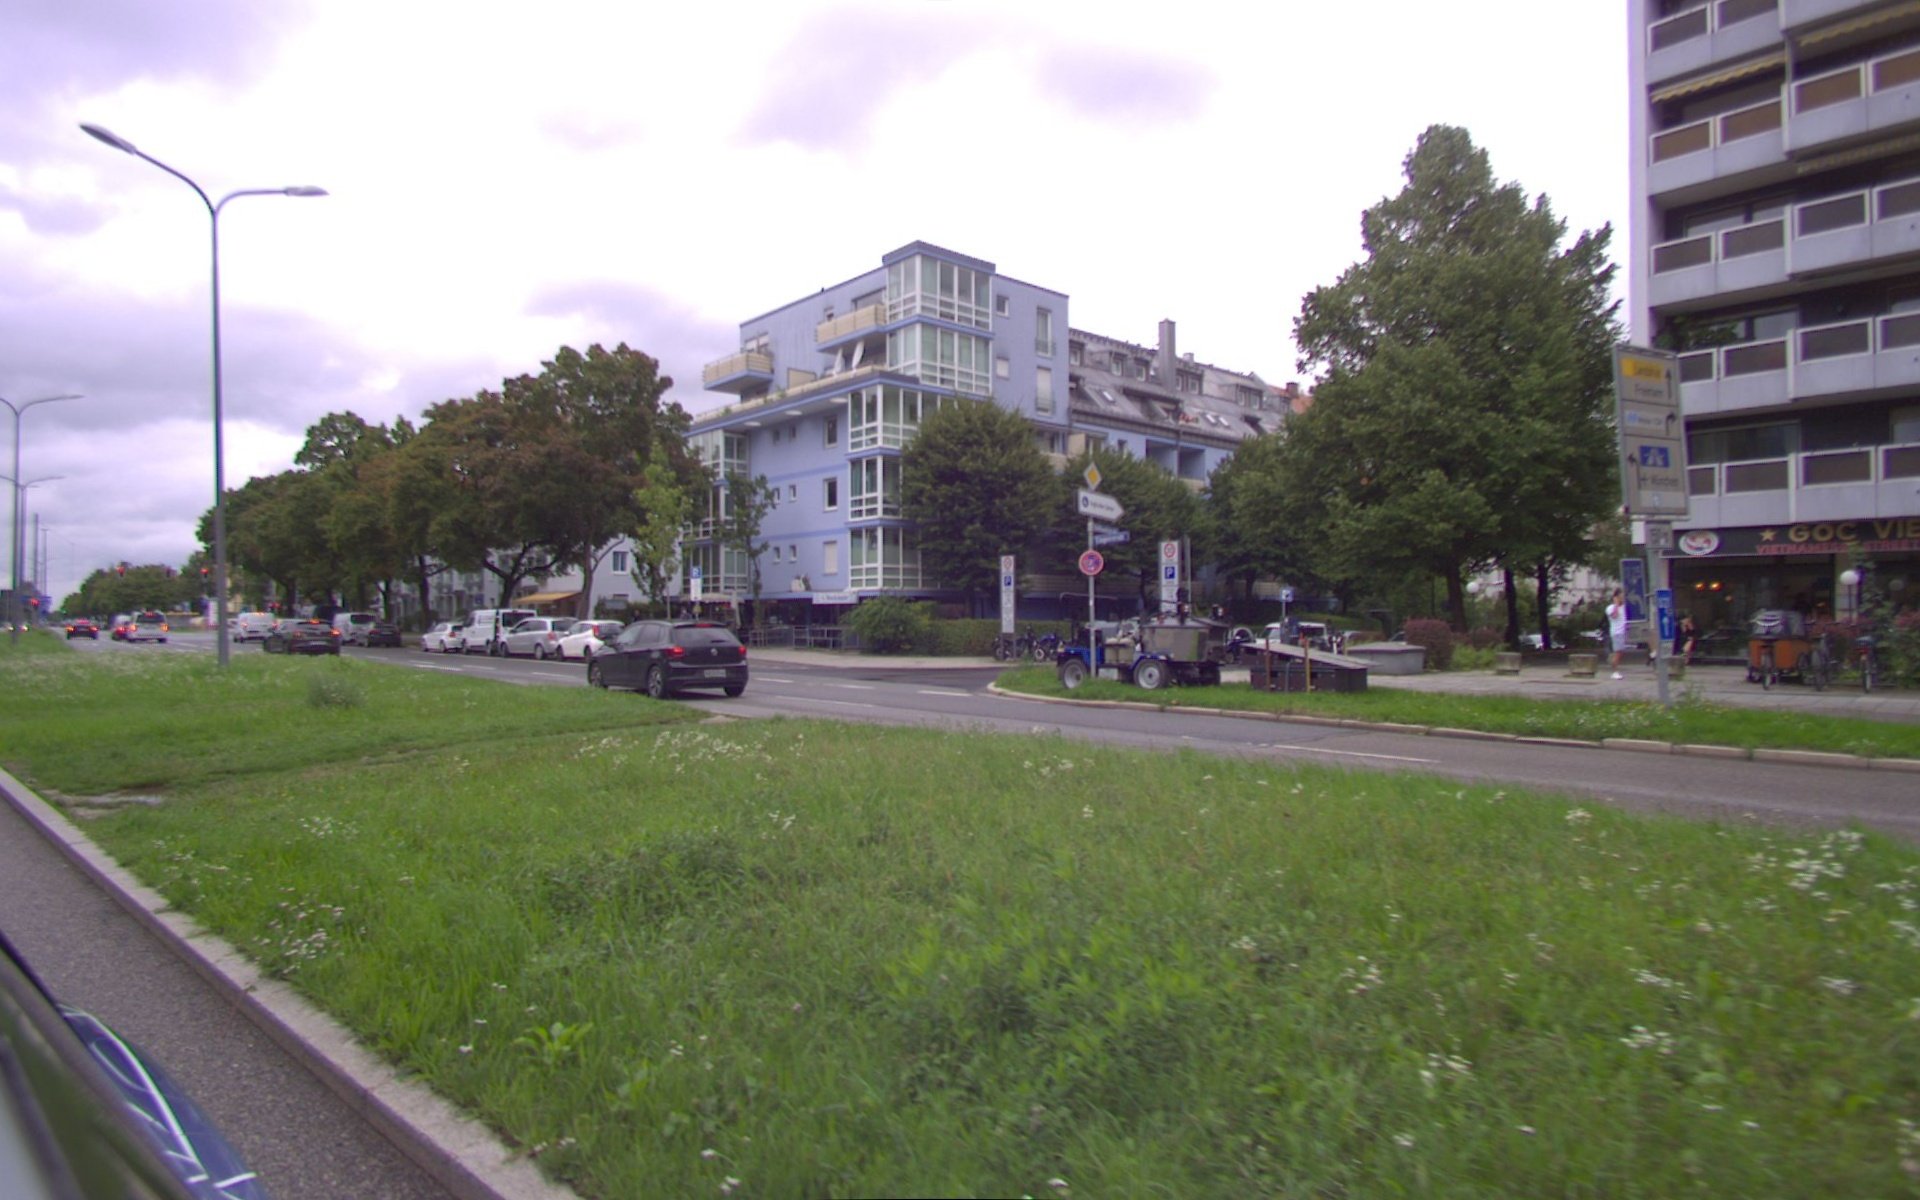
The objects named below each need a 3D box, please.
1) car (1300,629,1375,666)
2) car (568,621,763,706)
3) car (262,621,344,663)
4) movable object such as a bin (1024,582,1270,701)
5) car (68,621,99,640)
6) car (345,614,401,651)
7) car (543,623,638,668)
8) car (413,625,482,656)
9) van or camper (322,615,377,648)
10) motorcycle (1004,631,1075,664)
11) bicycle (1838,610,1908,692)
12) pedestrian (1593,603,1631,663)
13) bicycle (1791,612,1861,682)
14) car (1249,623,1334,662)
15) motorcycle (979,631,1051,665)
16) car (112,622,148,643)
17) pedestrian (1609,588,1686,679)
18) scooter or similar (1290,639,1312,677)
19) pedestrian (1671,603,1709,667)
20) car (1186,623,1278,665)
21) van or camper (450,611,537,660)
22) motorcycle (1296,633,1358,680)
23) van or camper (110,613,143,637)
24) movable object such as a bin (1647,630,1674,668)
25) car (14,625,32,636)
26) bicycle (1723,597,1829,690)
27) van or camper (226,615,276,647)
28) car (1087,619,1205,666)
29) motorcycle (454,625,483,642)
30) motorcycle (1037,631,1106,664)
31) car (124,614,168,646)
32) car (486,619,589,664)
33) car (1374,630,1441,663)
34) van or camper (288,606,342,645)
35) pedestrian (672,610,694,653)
[{"bbox_3d":[18.573,2.302,49.691,3.941,1.695,2.001,1,-2,-45],"label":"car"},{"bbox_3d":[-5.591,1.109,18.934,1.762,1.416,4.104,1,-2,-45],"label":"car"},{"bbox_3d":[-24.887,1.564,38.272,1.934,1.491,4.263,1,-2,-42],"label":"car"},{"bbox_3d":[3.445,0.740,18.994,3.998,1.968,2.170,-1,-2,41],"label":"movable object such as a bin"},{"bbox_3d":[-68.408,2.388,78.956,1.736,1.459,3.676,1,-2,-43],"label":"car"},{"bbox_3d":[-33.440,1.822,57.602,1.775,2.013,4.551,1,-2,-43],"label":"car"},{"bbox_3d":[-12.988,1.541,35.490,1.628,1.501,3.904,1,-2,-45],"label":"car"},{"bbox_3d":[-24.157,1.881,47.631,1.656,1.405,4.337,1,-2,-45],"label":"car"},{"bbox_3d":[-37.493,1.908,62.082,1.996,1.957,4.709,1,-2,-43],"label":"van or camper"},{"bbox_3d":[2.808,1.669,35.775,2.459,1.141,0.495,0,-2,20],"label":"motorcycle"},{"bbox_3d":[14.793,0.797,16.379,1.924,1.111,0.561,-5,2,-40],"label":"bicycle"},{"bbox_3d":[17.805,0.893,27.642,0.698,1.611,0.744,-1,-1,20],"label":"pedestrian"},{"bbox_3d":[14.425,0.757,16.839,1.923,1.112,0.561,1,-2,-40],"label":"bicycle"},{"bbox_3d":[15.183,1.907,46.274,4.199,1.695,2.001,1,-2,-45],"label":"car"},{"bbox_3d":[1.892,1.647,35.011,2.464,1.141,0.494,-1,-2,25],"label":"motorcycle"},{"bbox_3d":[-59.711,2.331,72.777,1.770,1.459,3.676,1,-2,-43],"label":"car"},{"bbox_3d":[13.330,0.640,19.630,1.130,1.721,0.661,-1,-2,41],"label":"pedestrian"},{"bbox_3d":[9.024,1.524,26.770,0.441,0.966,1.142,-1,-1,24],"label":"scooter or similar"},{"bbox_3d":[18.554,0.890,25.721,0.650,1.597,0.668,1,-2,-45],"label":"pedestrian"},{"bbox_3d":[11.772,1.865,43.609,4.199,1.695,2.001,1,-2,-45],"label":"car"},{"bbox_3d":[-19.901,1.471,43.022,1.783,1.983,5.215,1,-2,-43],"label":"van or camper"},{"bbox_3d":[8.979,1.359,24.814,0.412,1.095,1.789,0,-1,-18],"label":"motorcycle"},{"bbox_3d":[-65.345,1.966,79.329,1.770,1.811,4.129,1,-2,-43],"label":"van or camper"},{"bbox_3d":[18.242,1.267,26.354,0.536,0.972,0.369,-1,-2,40],"label":"movable object such as a bin"},{"bbox_3d":[-115.562,3.733,124.861,1.567,1.276,3.738,1,-2,-43],"label":"car"},{"bbox_3d":[14.361,0.716,17.759,3.286,1.292,0.789,-5,2,-40],"label":"bicycle"},{"bbox_3d":[-47.576,2.055,67.855,1.992,2.031,5.203,1,-2,-43],"label":"van or camper"},{"bbox_3d":[7.264,1.597,39.165,5.043,1.695,2.001,1,-2,-45],"label":"car"},{"bbox_3d":[-34.171,2.327,70.404,0.464,1.179,1.789,-1,-2,42],"label":"motorcycle"},{"bbox_3d":[4.032,1.710,36.683,2.458,1.141,0.495,0,-2,19],"label":"motorcycle"},{"bbox_3d":[-53.165,1.948,66.065,1.916,2.013,4.709,1,-2,-43],"label":"car"},{"bbox_3d":[-16.335,1.555,39.017,4.659,1.628,1.682,-1,-2,39],"label":"car"},{"bbox_3d":[24.165,2.462,54.545,3.941,1.695,2.001,1,-2,-45],"label":"car"},{"bbox_3d":[-44.031,1.727,69.007,2.025,2.506,5.552,1,-2,-44],"label":"van or camper"},{"bbox_3d":[-11.712,1.329,42.828,0.634,1.819,0.781,1,-2,-38],"label":"pedestrian"}]
